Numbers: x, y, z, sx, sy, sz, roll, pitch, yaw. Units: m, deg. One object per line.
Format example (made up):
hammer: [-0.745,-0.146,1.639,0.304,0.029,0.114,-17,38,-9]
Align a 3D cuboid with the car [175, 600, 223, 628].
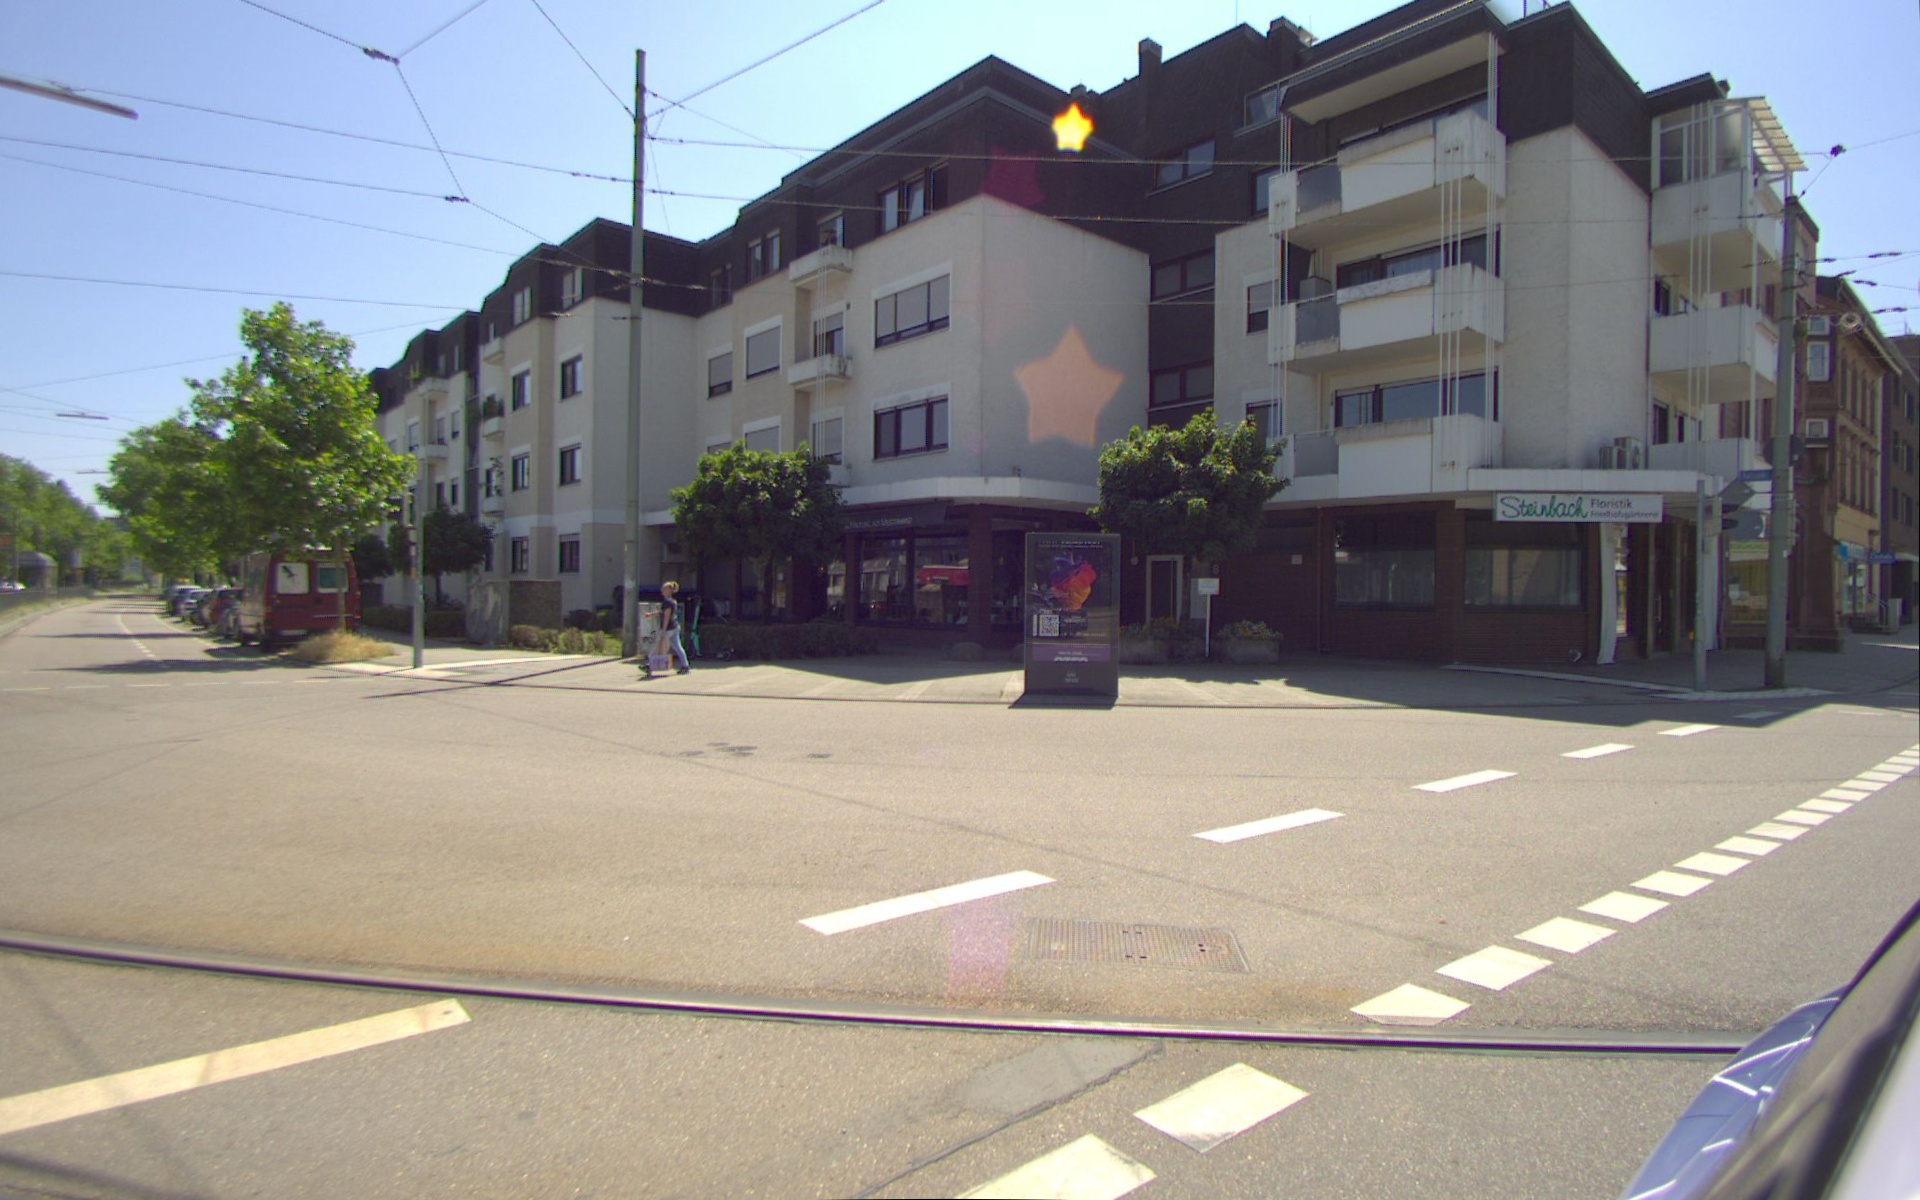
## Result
car: [-31.267,0.538,41.541,1.426,1.094,3.359,0,0,-40]

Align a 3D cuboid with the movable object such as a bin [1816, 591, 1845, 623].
movable object such as a bin: [29.672,0.236,34.484,0.549,1.061,0.648,0,3,-41]

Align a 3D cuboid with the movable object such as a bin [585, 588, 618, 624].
movable object such as a bin: [-10.758,0.187,30.370,0.701,1.060,0.743,0,0,-42]

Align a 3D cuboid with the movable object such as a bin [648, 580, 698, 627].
movable object such as a bin: [-8.972,0.092,31.620,1.045,1.424,1.320,0,0,-42]

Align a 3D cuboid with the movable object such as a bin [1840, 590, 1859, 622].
movable object such as a bin: [30.805,0.197,35.050,0.646,1.061,0.375,0,3,-42]

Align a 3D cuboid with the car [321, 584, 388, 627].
car: [-24.053,0.206,40.129,1.625,1.629,3.645,-1,1,-42]

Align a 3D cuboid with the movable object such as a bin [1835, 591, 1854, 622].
movable object such as a bin: [30.294,0.214,34.666,0.549,1.061,0.375,0,2,-42]

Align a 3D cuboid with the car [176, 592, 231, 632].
car: [-27.656,0.402,36.971,1.426,1.398,3.359,0,0,-40]

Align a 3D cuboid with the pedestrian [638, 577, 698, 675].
pedestrian: [-4.981,0.422,17.260,0.809,1.603,0.830,0,0,-29]

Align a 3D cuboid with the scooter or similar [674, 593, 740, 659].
scooter or similar: [-4.853,0.490,19.393,1.241,1.228,0.391,0,0,23]

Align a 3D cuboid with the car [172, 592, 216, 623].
car: [-34.341,0.313,45.343,1.426,1.371,3.359,0,0,-40]

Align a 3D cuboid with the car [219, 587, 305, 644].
car: [-20.661,0.411,29.891,1.650,1.567,3.799,0,1,-42]

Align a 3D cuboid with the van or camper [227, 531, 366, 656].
van or camper: [-16.617,-0.161,25.221,2.170,2.800,5.230,0,0,-42]

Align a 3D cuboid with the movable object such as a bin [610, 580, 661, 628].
movable object such as a bin: [-9.906,0.123,30.904,1.174,1.424,1.057,0,0,-42]

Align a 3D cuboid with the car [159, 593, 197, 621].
car: [-40.501,0.340,52.391,1.426,1.371,3.359,0,0,-40]
